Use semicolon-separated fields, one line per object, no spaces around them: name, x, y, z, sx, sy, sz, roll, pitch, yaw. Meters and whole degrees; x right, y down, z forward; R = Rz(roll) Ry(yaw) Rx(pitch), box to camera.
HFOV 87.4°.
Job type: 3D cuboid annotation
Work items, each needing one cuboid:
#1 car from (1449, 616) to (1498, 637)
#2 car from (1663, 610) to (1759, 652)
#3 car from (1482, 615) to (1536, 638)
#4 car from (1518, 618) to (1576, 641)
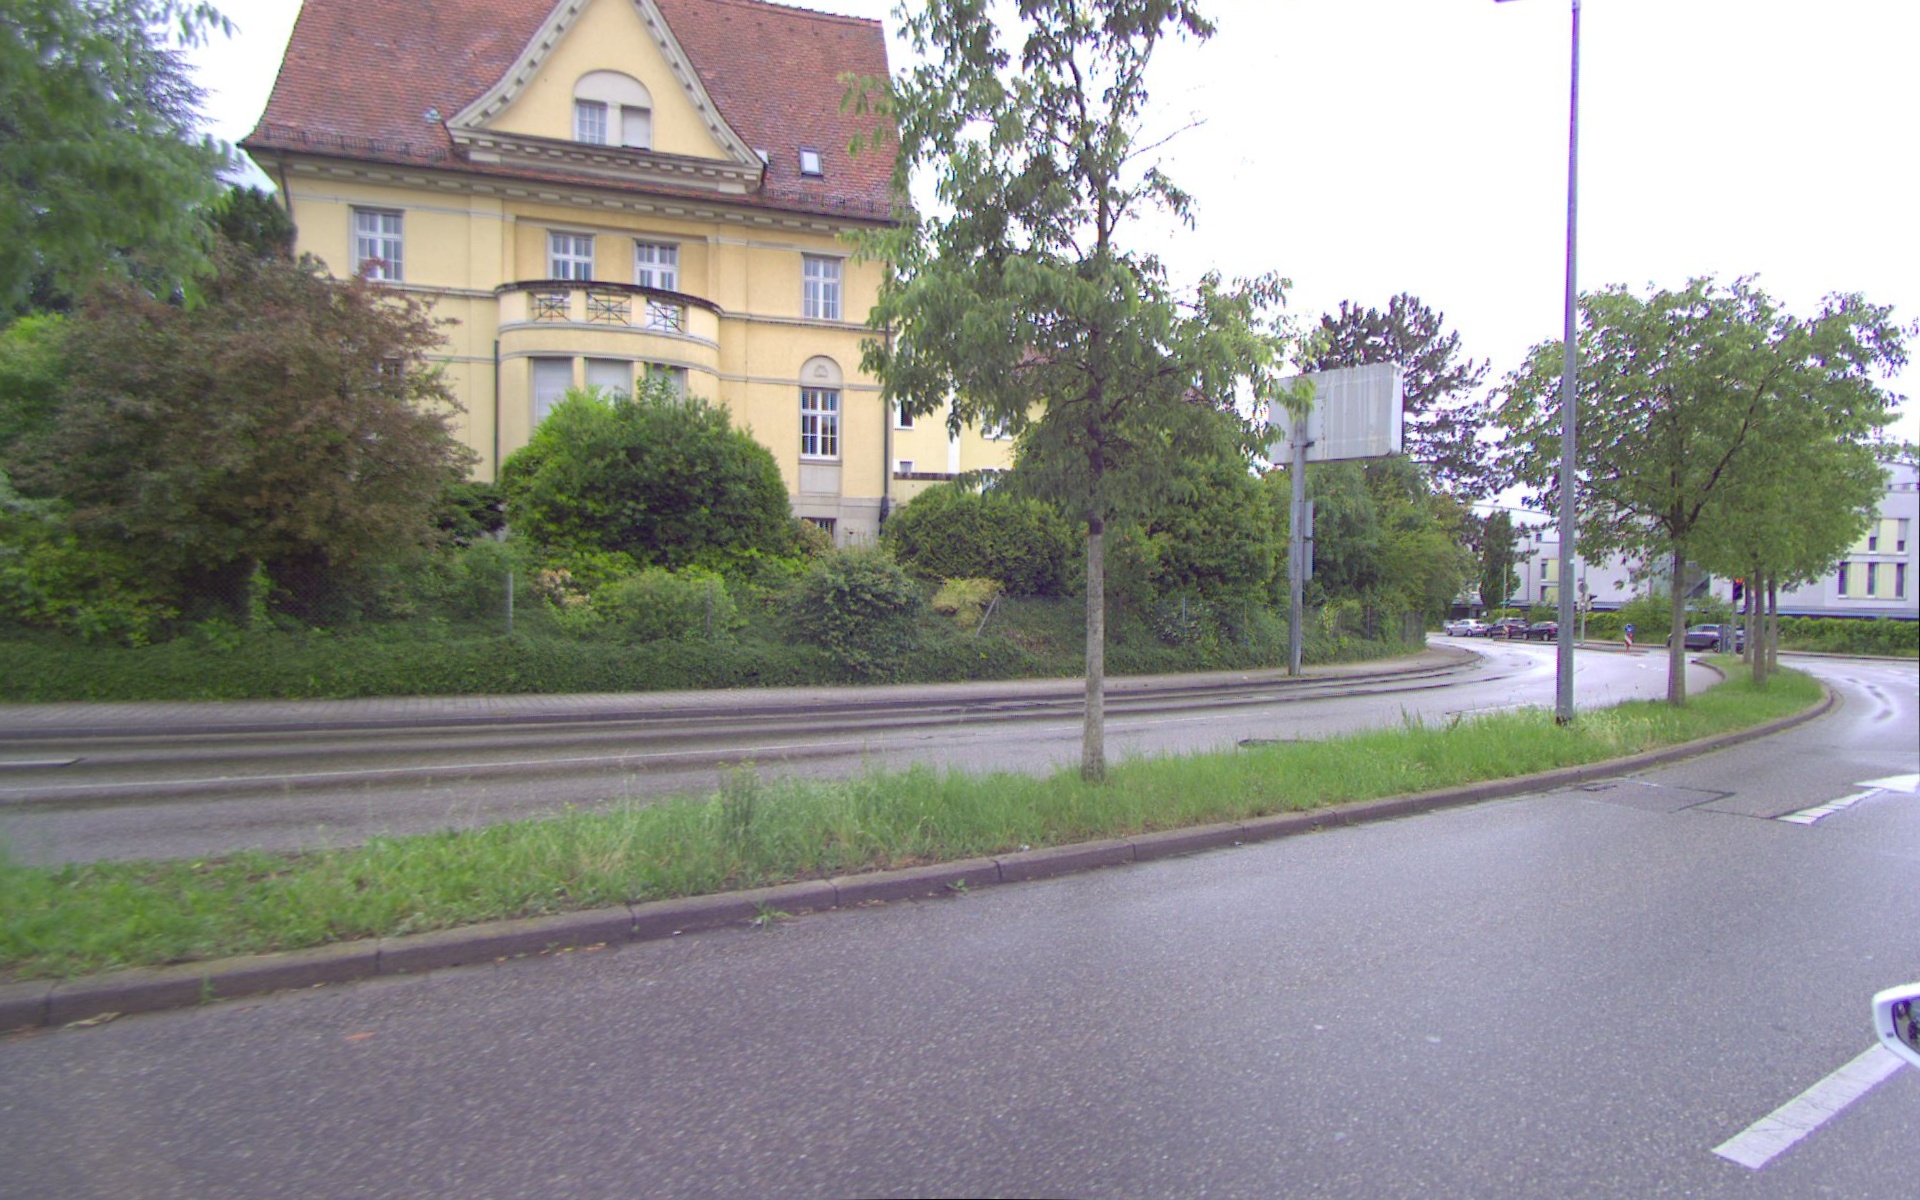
car;44.002;2.261;86.189;1.962;1.576;3.997;2;1;-4
car;43.220;1.725;57.907;1.947;2.041;3.987;0;4;-15
car;44.514;2.136;81.592;1.962;1.576;3.997;2;2;-4
car;44.859;2.234;76.861;1.962;1.576;3.997;0;0;-4
